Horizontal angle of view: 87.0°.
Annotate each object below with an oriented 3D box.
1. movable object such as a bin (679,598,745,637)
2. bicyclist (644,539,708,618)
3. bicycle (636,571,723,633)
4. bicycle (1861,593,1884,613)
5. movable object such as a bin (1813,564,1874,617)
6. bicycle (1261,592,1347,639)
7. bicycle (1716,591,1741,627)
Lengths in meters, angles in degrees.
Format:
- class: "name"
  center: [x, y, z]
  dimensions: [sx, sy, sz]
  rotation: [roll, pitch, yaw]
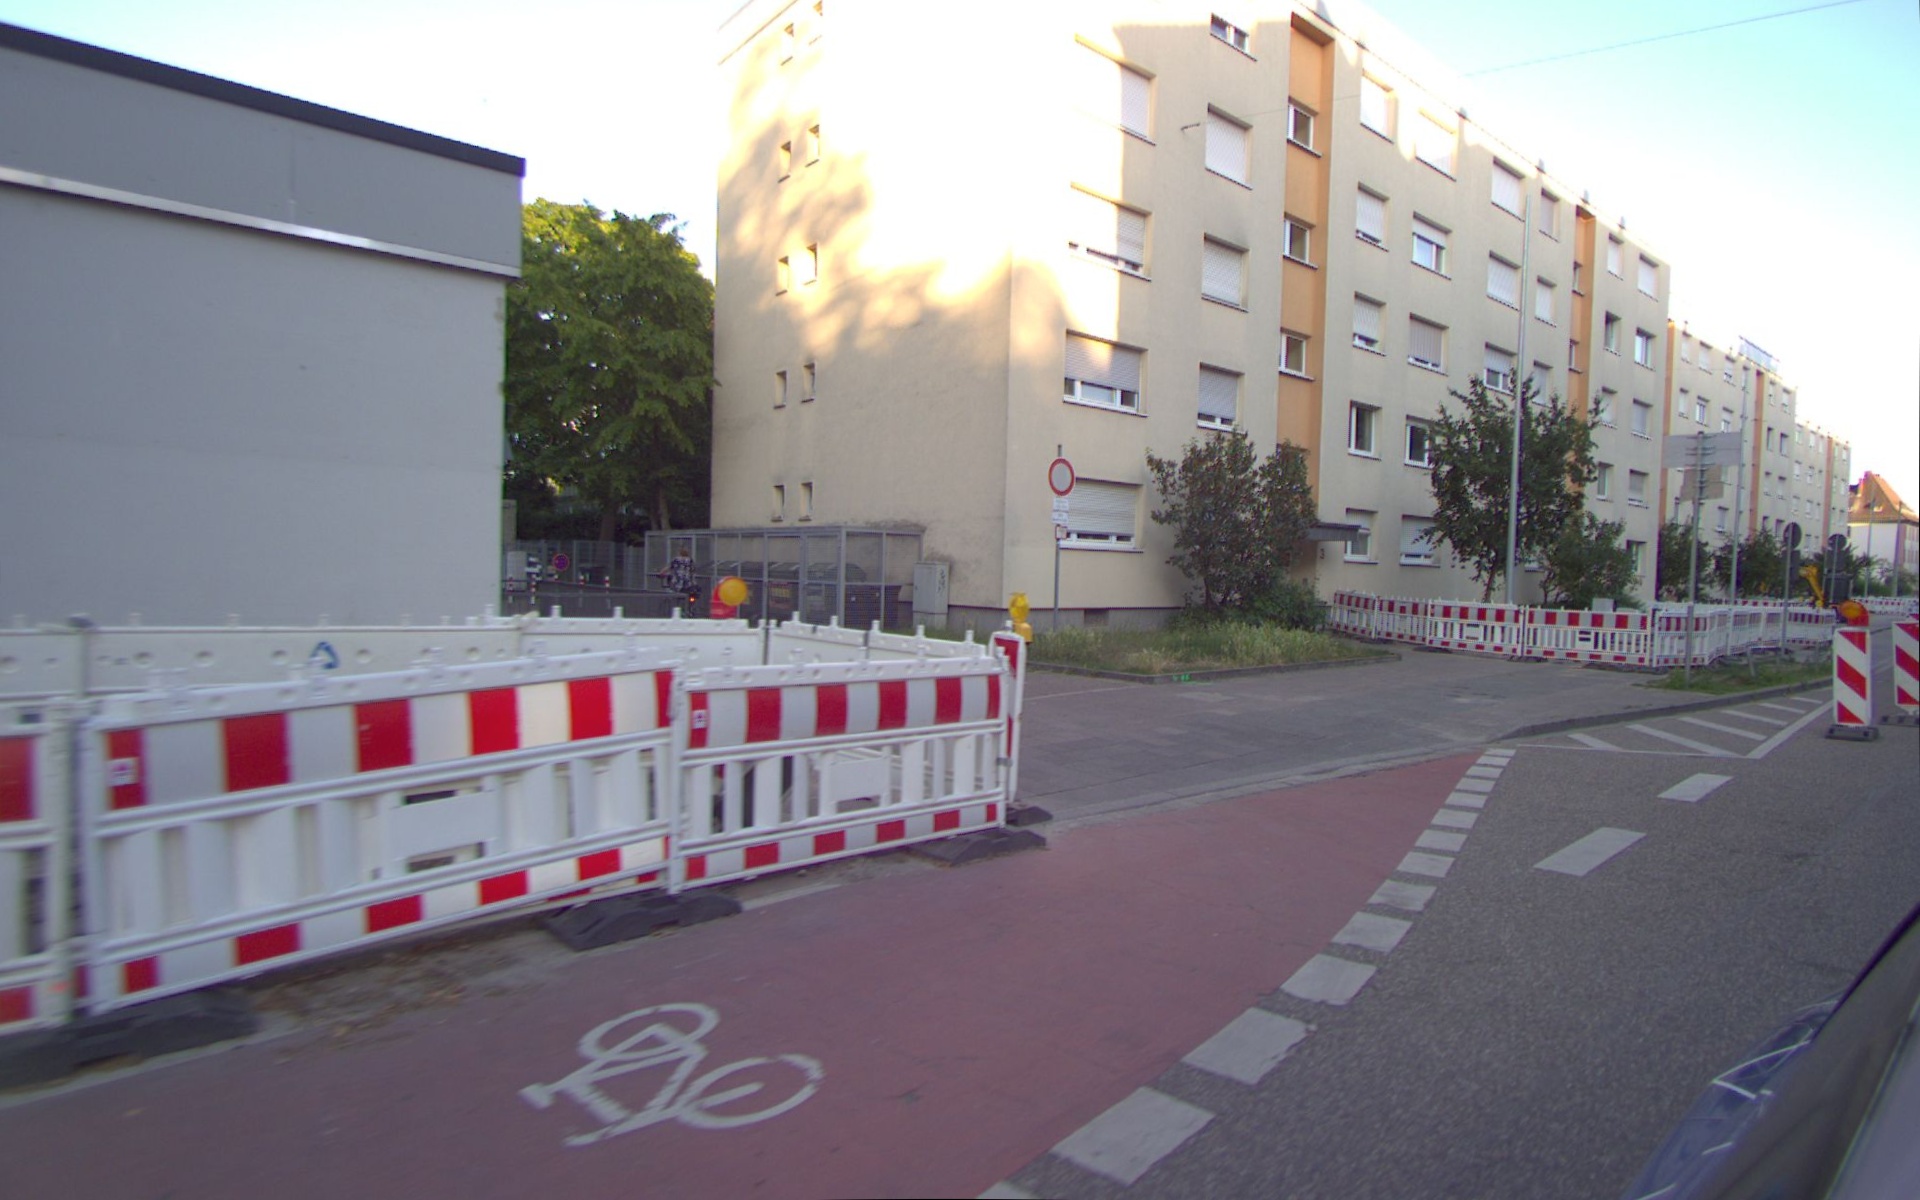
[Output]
- class: "movable object such as a bin"
  center: [-4.857, 0.339, 19.801]
  dimensions: [0.925, 0.697, 0.993]
  rotation: [0, 2, -38]
- class: "bicyclist"
  center: [-5.966, -0.462, 21.246]
  dimensions: [0.925, 1.601, 1.146]
  rotation: [0, 2, -38]
- class: "bicycle"
  center: [-5.875, 0.007, 21.120]
  dimensions: [0.925, 1.186, 2.358]
  rotation: [0, 2, -37]
- class: "bicycle"
  center: [57.301, 0.200, 63.570]
  dimensions: [0.552, 1.186, 1.800]
  rotation: [2, 2, 27]
- class: "movable object such as a bin"
  center: [47.159, -0.534, 54.012]
  dimensions: [2.839, 2.726, 1.938]
  rotation: [0, 2, -39]
- class: "bicycle"
  center: [7.439, 0.336, 21.906]
  dimensions: [1.776, 0.980, 0.547]
  rotation: [1, 1, -20]
- class: "bicycle"
  center: [27.645, 0.307, 36.381]
  dimensions: [0.452, 1.237, 1.880]
  rotation: [2, 2, 44]
